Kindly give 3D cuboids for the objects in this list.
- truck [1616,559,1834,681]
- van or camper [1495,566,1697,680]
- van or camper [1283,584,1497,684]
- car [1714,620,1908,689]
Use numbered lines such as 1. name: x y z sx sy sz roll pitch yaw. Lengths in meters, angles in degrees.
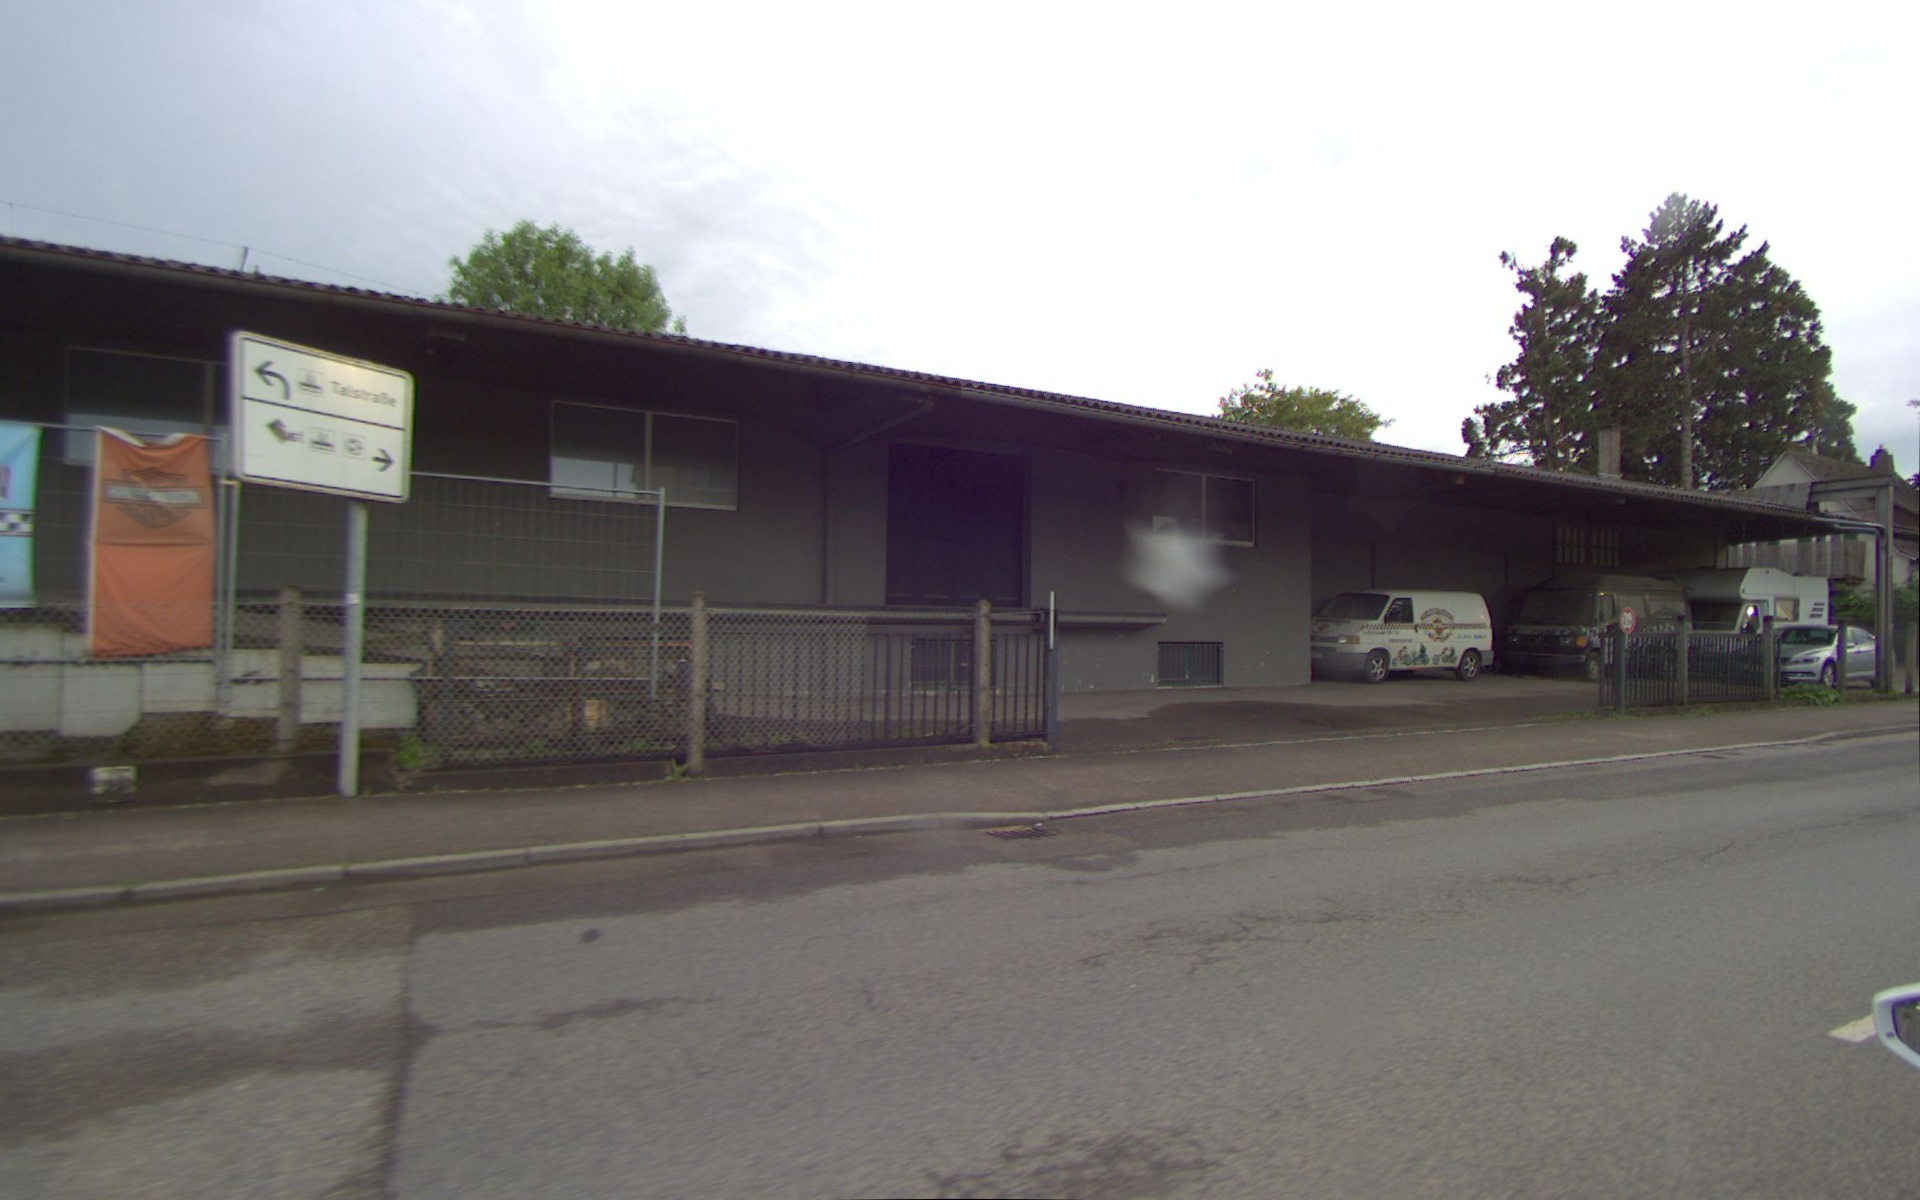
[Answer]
1. truck: 20.510 0.563 26.880 5.884 2.966 2.384 2 0 -29
2. van or camper: 15.460 0.586 24.337 5.173 2.469 1.850 3 0 -30
3. van or camper: 9.244 0.708 21.533 4.420 1.934 1.983 2 1 -31
4. car: 20.112 1.277 23.712 4.723 1.463 1.928 2 -1 -29
